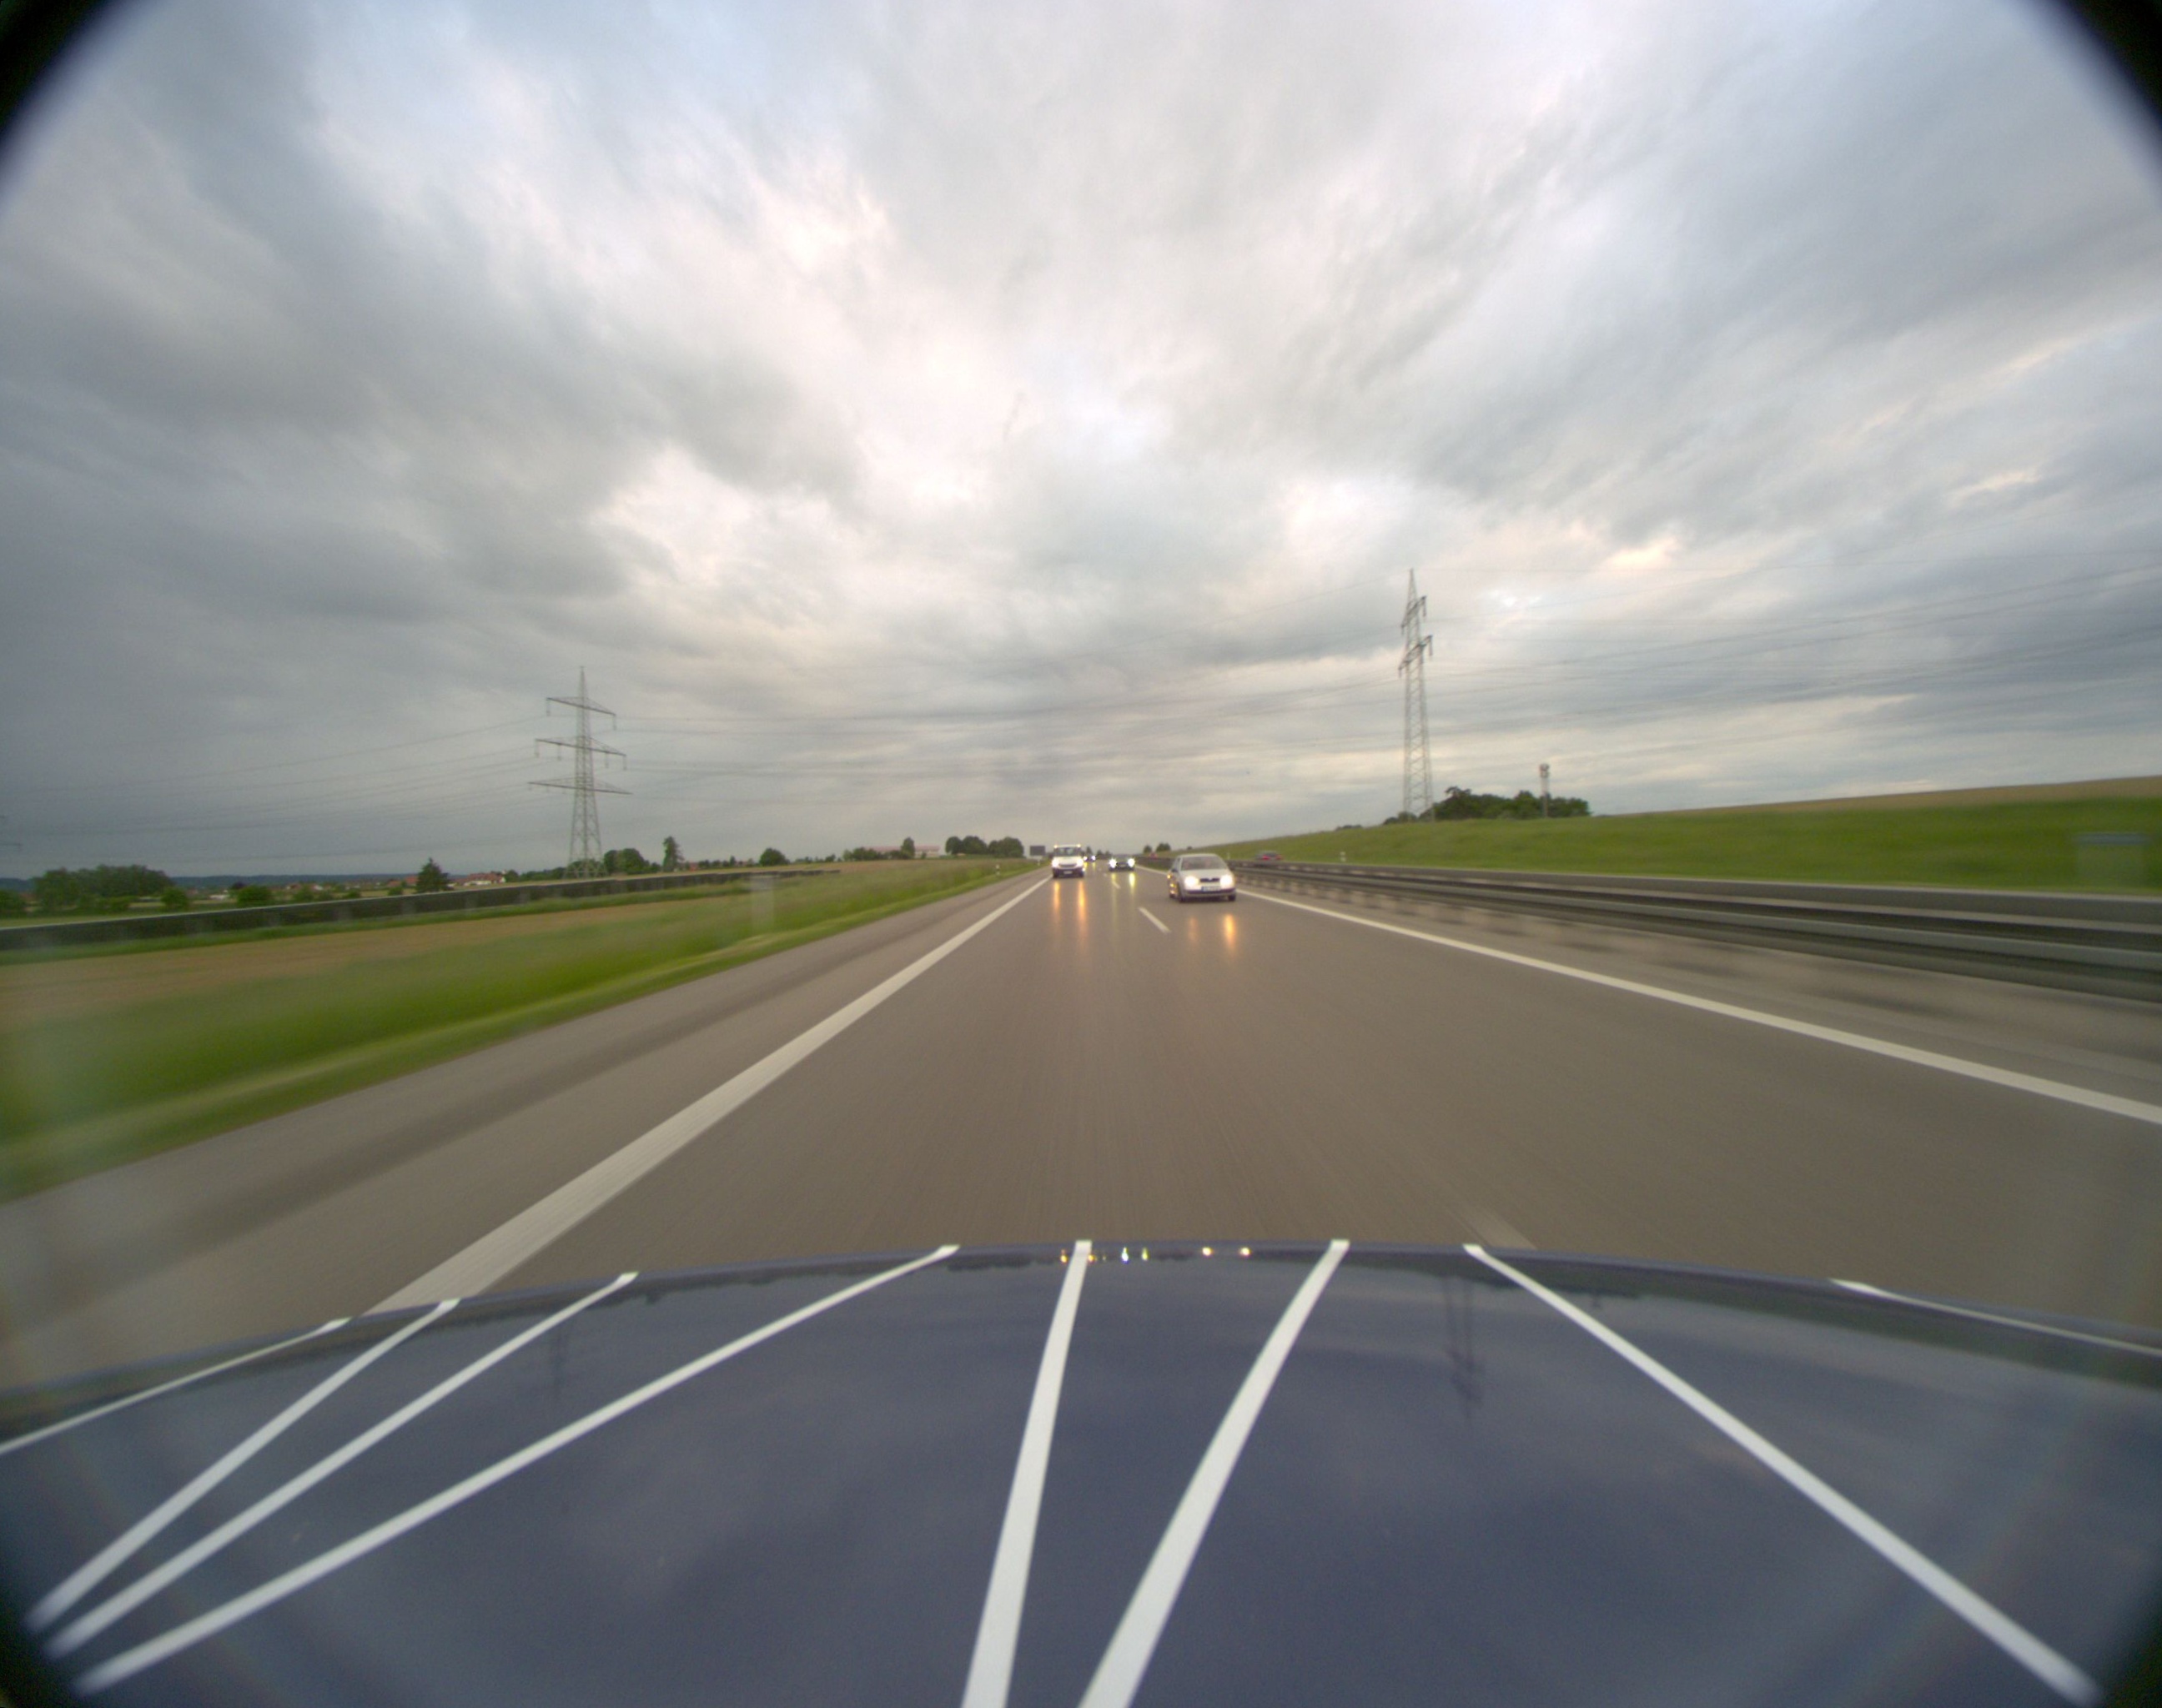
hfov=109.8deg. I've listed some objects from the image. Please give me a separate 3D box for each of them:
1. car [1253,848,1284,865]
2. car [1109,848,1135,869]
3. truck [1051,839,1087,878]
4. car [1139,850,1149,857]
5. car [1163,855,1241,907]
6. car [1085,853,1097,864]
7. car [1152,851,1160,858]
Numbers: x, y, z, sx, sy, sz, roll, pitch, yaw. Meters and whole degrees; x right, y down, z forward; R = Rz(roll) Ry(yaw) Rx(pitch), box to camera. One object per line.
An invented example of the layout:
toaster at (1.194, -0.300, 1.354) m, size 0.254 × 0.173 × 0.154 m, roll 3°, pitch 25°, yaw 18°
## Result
car at (16.781, 0.204, 68.102) m, size 1.678 × 1.352 × 4.010 m, roll -4°, pitch 0°, yaw 0°
car at (3.369, 0.375, 63.281) m, size 1.951 × 1.620 × 4.536 m, roll -2°, pitch 0°, yaw 1°
truck at (-0.803, 0.289, 51.973) m, size 2.177 × 2.346 × 7.696 m, roll -3°, pitch 0°, yaw -1°
car at (14.345, -0.067, 173.199) m, size 1.743 × 1.448 × 5.121 m, roll -3°, pitch 0°, yaw 1°
car at (3.567, 0.733, 23.158) m, size 1.592 × 1.381 × 4.601 m, roll 0°, pitch 1°, yaw -1°
car at (1.853, 0.820, 140.018) m, size 1.999 × 2.002 × 4.460 m, roll -3°, pitch 0°, yaw -1°
car at (17.890, 0.142, 181.375) m, size 1.532 × 1.425 × 4.434 m, roll -3°, pitch 0°, yaw 0°
